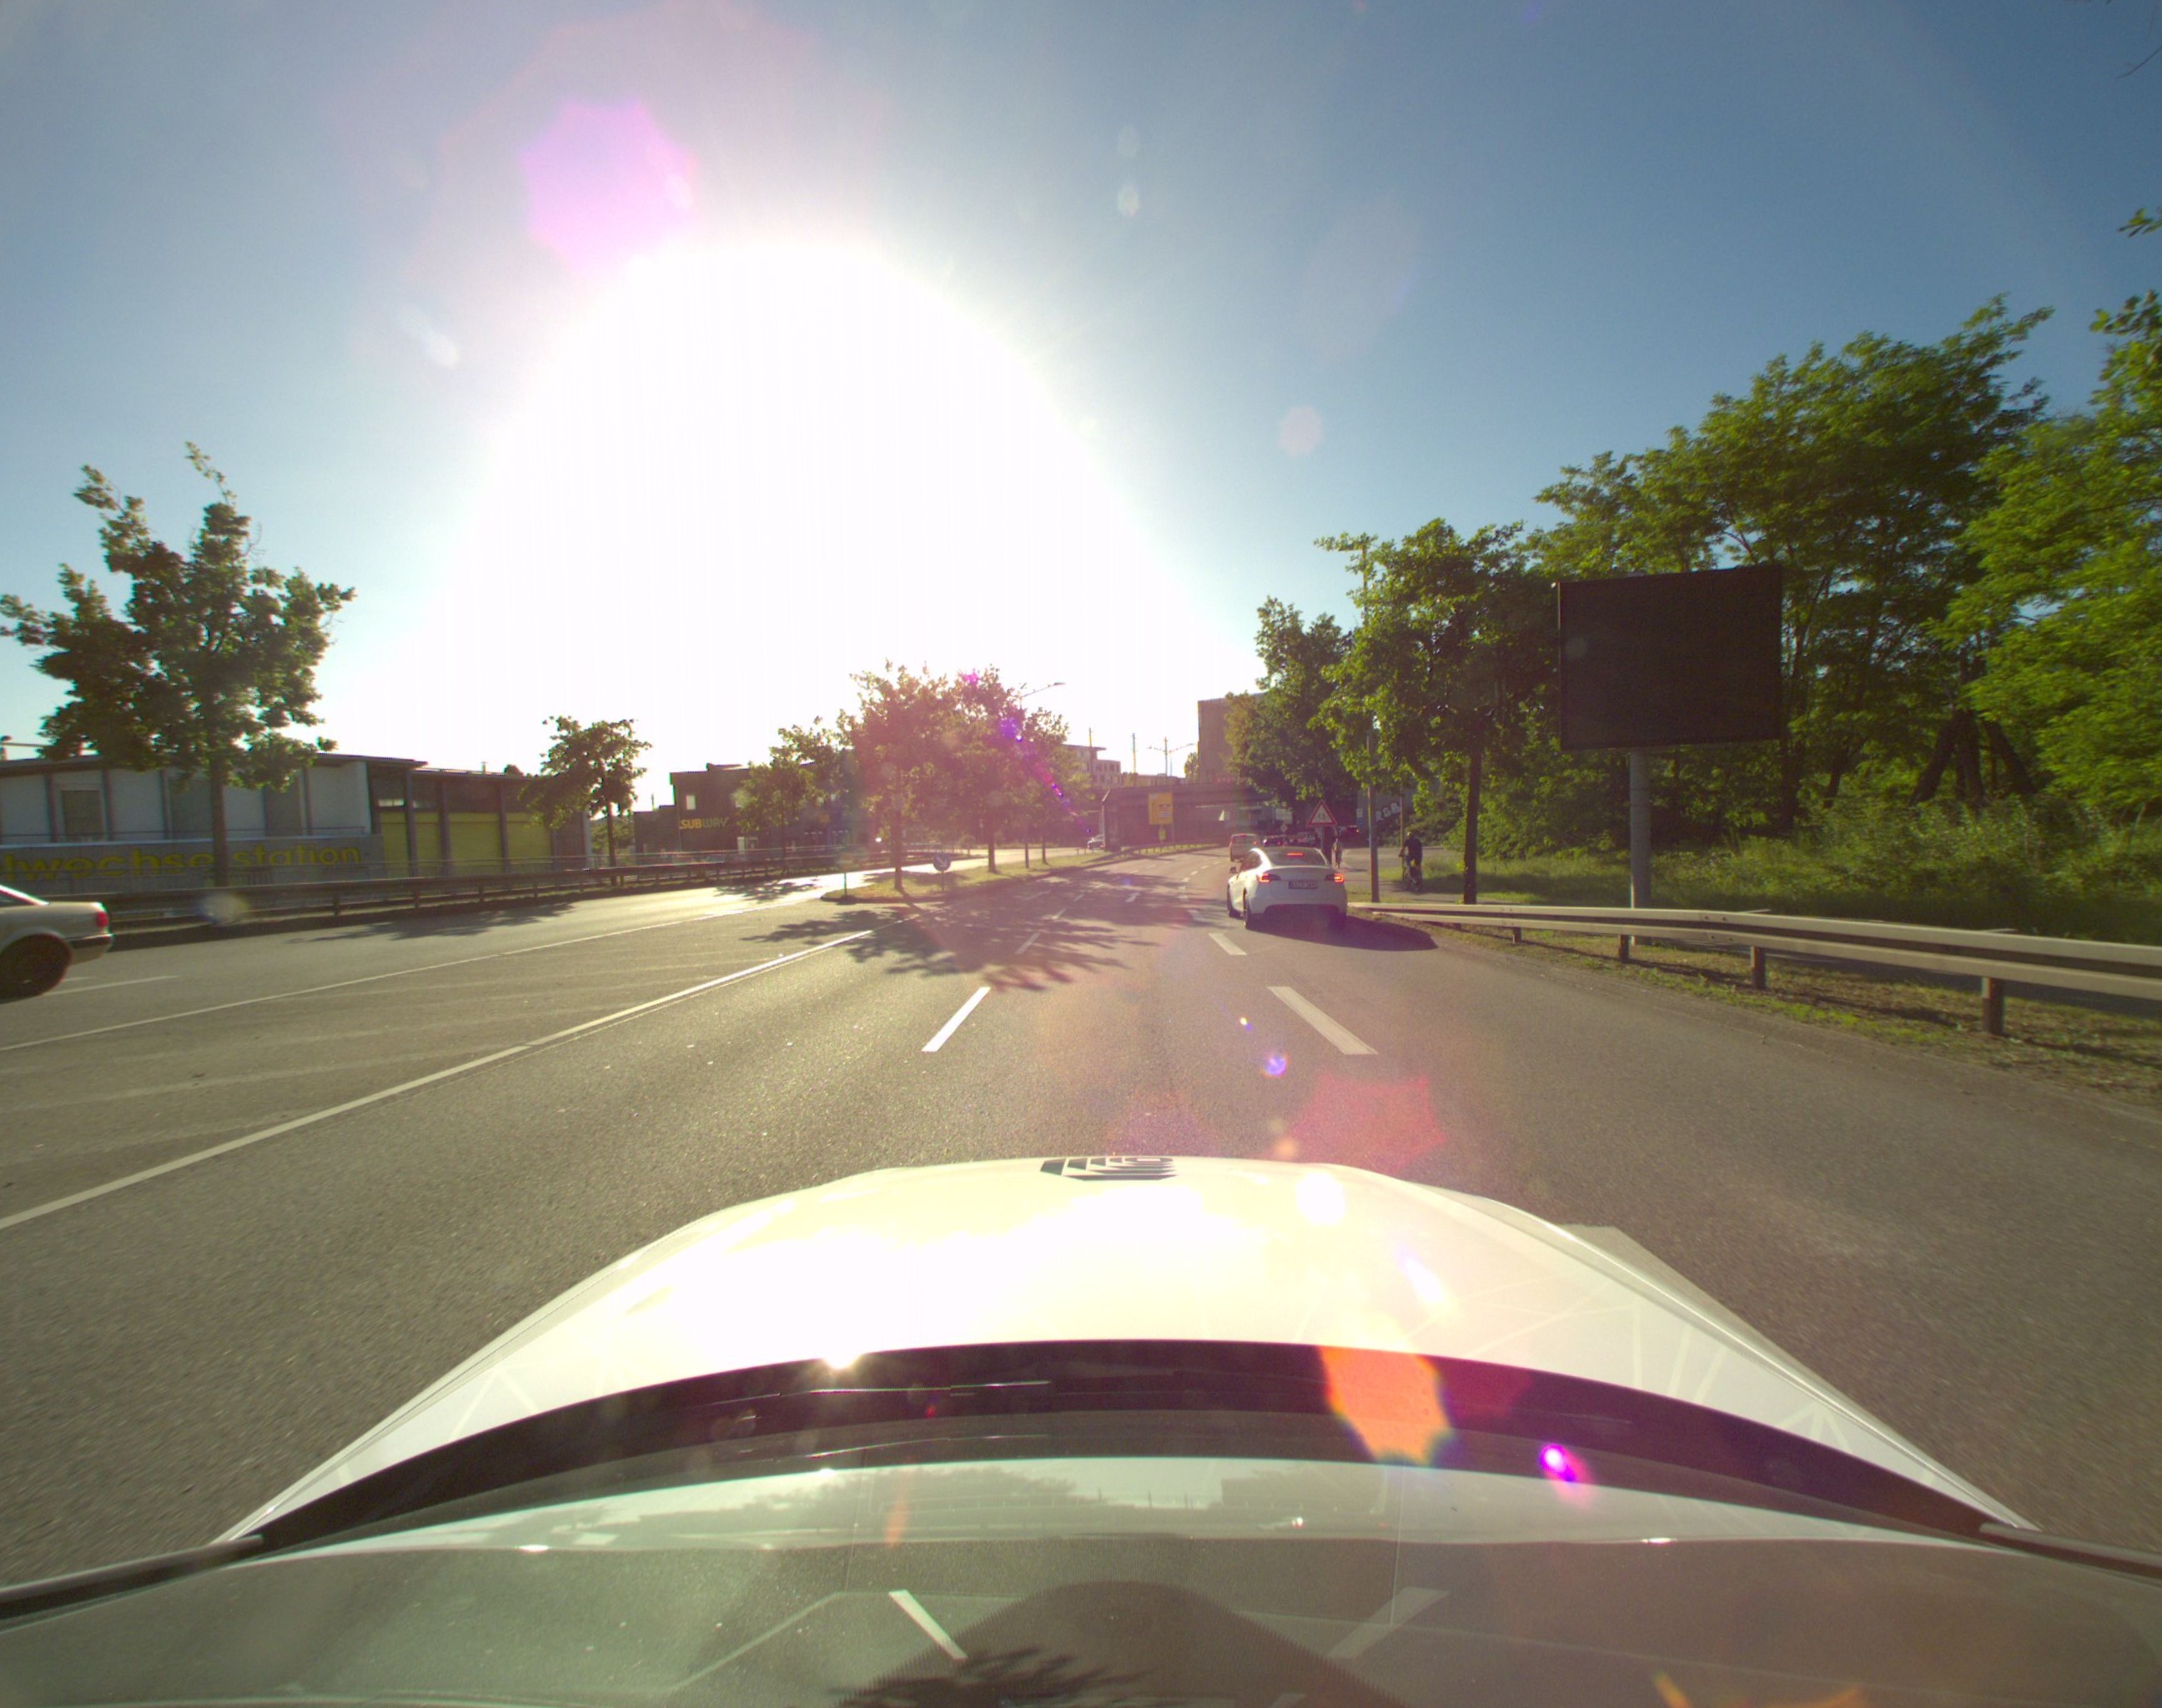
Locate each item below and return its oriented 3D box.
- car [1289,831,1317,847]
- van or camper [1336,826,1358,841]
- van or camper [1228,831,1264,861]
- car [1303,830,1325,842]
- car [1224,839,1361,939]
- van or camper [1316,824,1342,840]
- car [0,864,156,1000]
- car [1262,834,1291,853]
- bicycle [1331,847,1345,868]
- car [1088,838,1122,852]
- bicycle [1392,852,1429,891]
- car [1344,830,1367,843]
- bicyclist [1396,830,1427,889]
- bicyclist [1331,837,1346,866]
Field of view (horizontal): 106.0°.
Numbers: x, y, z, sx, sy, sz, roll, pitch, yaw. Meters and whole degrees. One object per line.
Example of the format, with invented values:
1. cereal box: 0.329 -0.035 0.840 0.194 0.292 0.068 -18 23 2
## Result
1. car: 21.833 -1.517 80.138 1.747 1.475 4.315 -1 2 28
2. van or camper: 34.862 -2.651 106.672 1.737 1.813 3.985 0 3 35
3. van or camper: 11.593 -0.587 56.962 1.943 1.883 4.903 -1 2 18
4. car: 30.746 -2.343 107.442 1.691 1.452 3.767 0 3 35
5. car: 4.212 0.591 16.950 1.905 1.640 4.416 -3 2 4
6. van or camper: 28.118 -2.517 92.264 1.808 1.790 4.574 0 3 31
7. car: -12.089 0.845 7.665 1.725 1.385 4.492 -1 1 -3
8. car: 16.860 -0.926 70.175 1.589 1.434 3.702 1 3 28
9. bicycle: 15.023 0.203 47.591 0.737 1.112 2.463 -3 1 18
10. car: 2.483 -0.945 84.299 1.783 1.310 4.643 0 1 26
11. bicycle: 10.255 0.526 25.420 0.690 1.095 2.125 -3 1 13
12. car: 33.999 -2.206 100.755 1.691 1.522 3.767 0 3 35
13. bicyclist: 10.171 0.156 25.080 0.670 1.776 0.951 -3 1 13
14. bicyclist: 15.035 -0.134 47.604 0.740 1.619 0.917 -3 1 18
